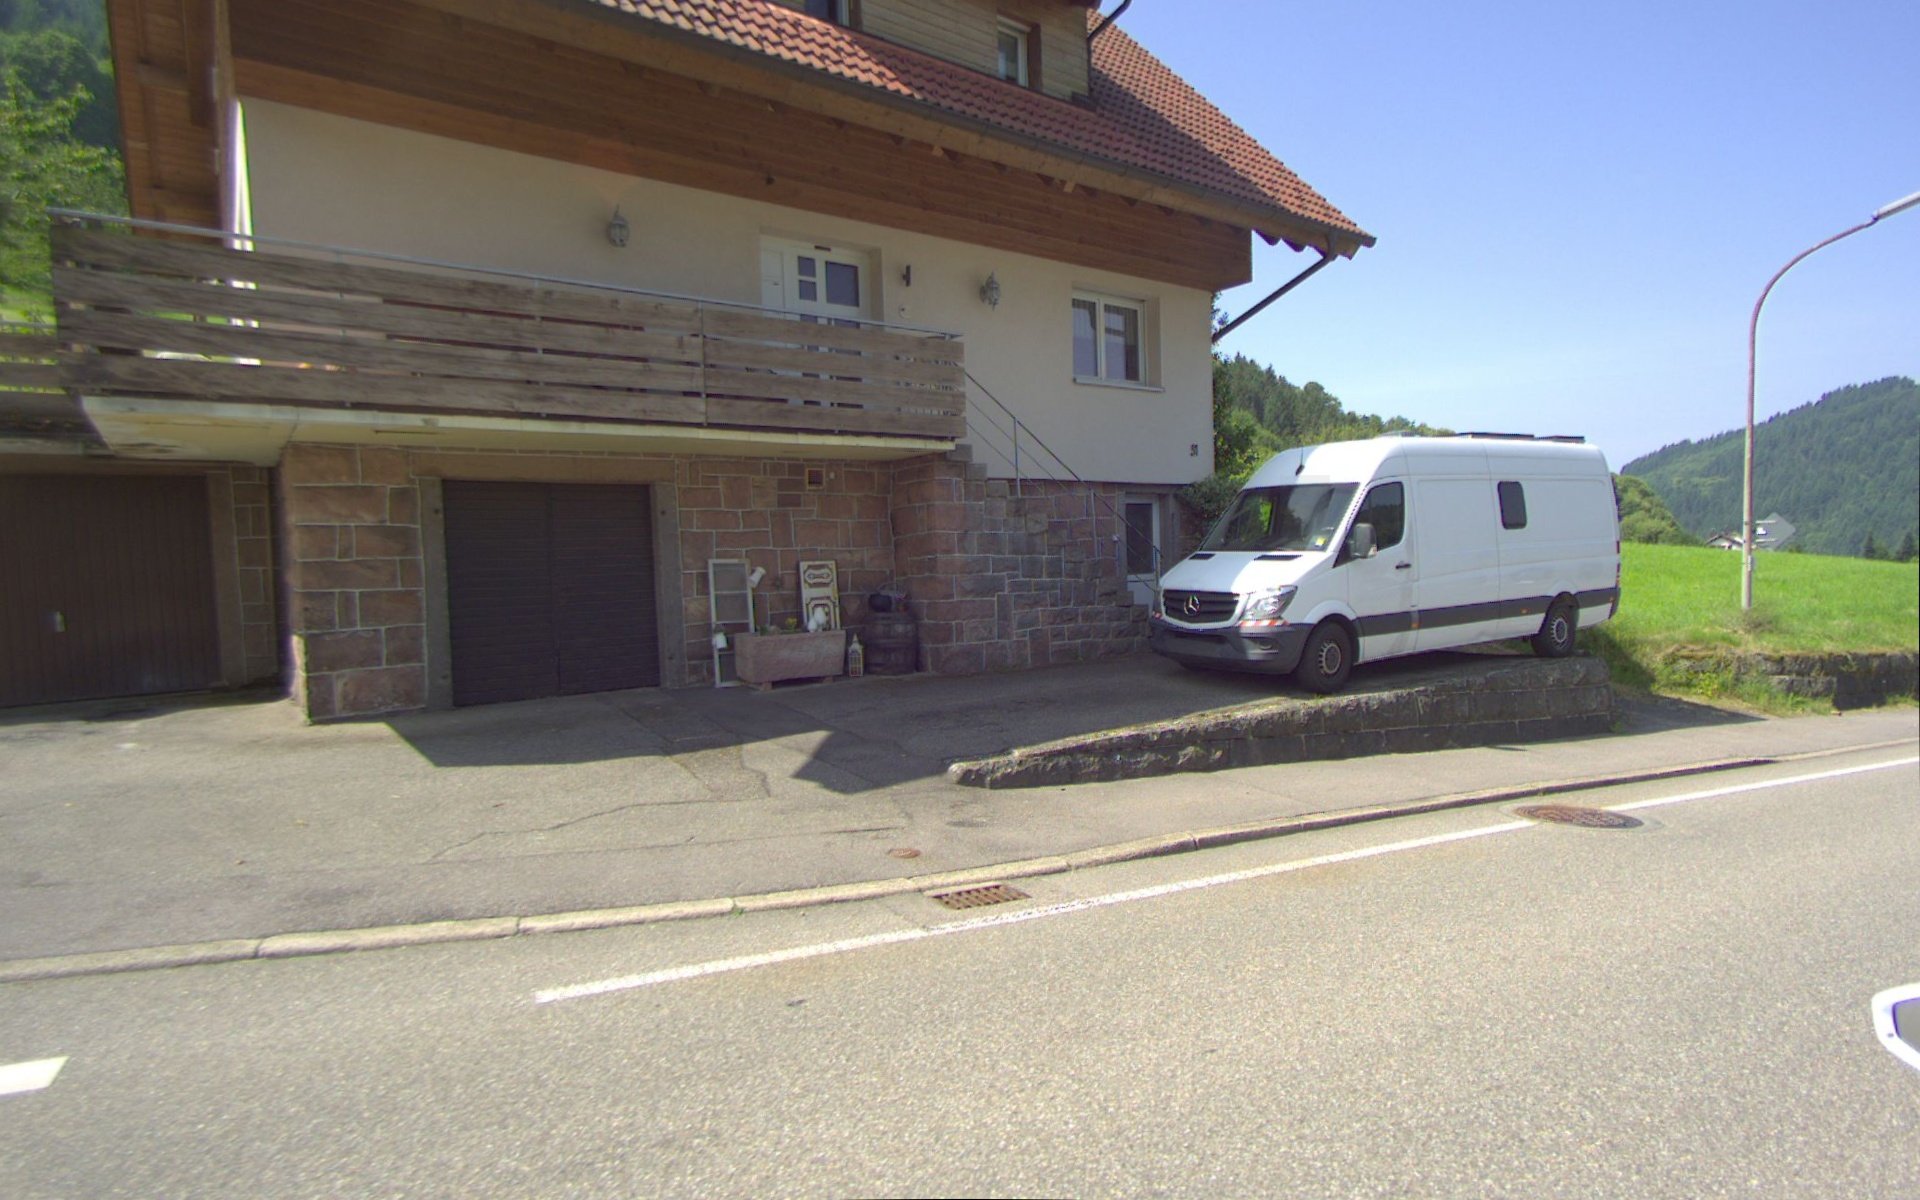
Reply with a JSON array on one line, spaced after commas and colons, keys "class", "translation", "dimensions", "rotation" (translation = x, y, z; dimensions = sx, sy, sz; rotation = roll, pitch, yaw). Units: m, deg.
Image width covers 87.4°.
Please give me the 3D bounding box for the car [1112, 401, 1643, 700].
[{"class": "car", "translation": [5.193, -0.637, 11.914], "dimensions": [7.092, 2.725, 2.056], "rotation": [-3, 5, -32]}]
